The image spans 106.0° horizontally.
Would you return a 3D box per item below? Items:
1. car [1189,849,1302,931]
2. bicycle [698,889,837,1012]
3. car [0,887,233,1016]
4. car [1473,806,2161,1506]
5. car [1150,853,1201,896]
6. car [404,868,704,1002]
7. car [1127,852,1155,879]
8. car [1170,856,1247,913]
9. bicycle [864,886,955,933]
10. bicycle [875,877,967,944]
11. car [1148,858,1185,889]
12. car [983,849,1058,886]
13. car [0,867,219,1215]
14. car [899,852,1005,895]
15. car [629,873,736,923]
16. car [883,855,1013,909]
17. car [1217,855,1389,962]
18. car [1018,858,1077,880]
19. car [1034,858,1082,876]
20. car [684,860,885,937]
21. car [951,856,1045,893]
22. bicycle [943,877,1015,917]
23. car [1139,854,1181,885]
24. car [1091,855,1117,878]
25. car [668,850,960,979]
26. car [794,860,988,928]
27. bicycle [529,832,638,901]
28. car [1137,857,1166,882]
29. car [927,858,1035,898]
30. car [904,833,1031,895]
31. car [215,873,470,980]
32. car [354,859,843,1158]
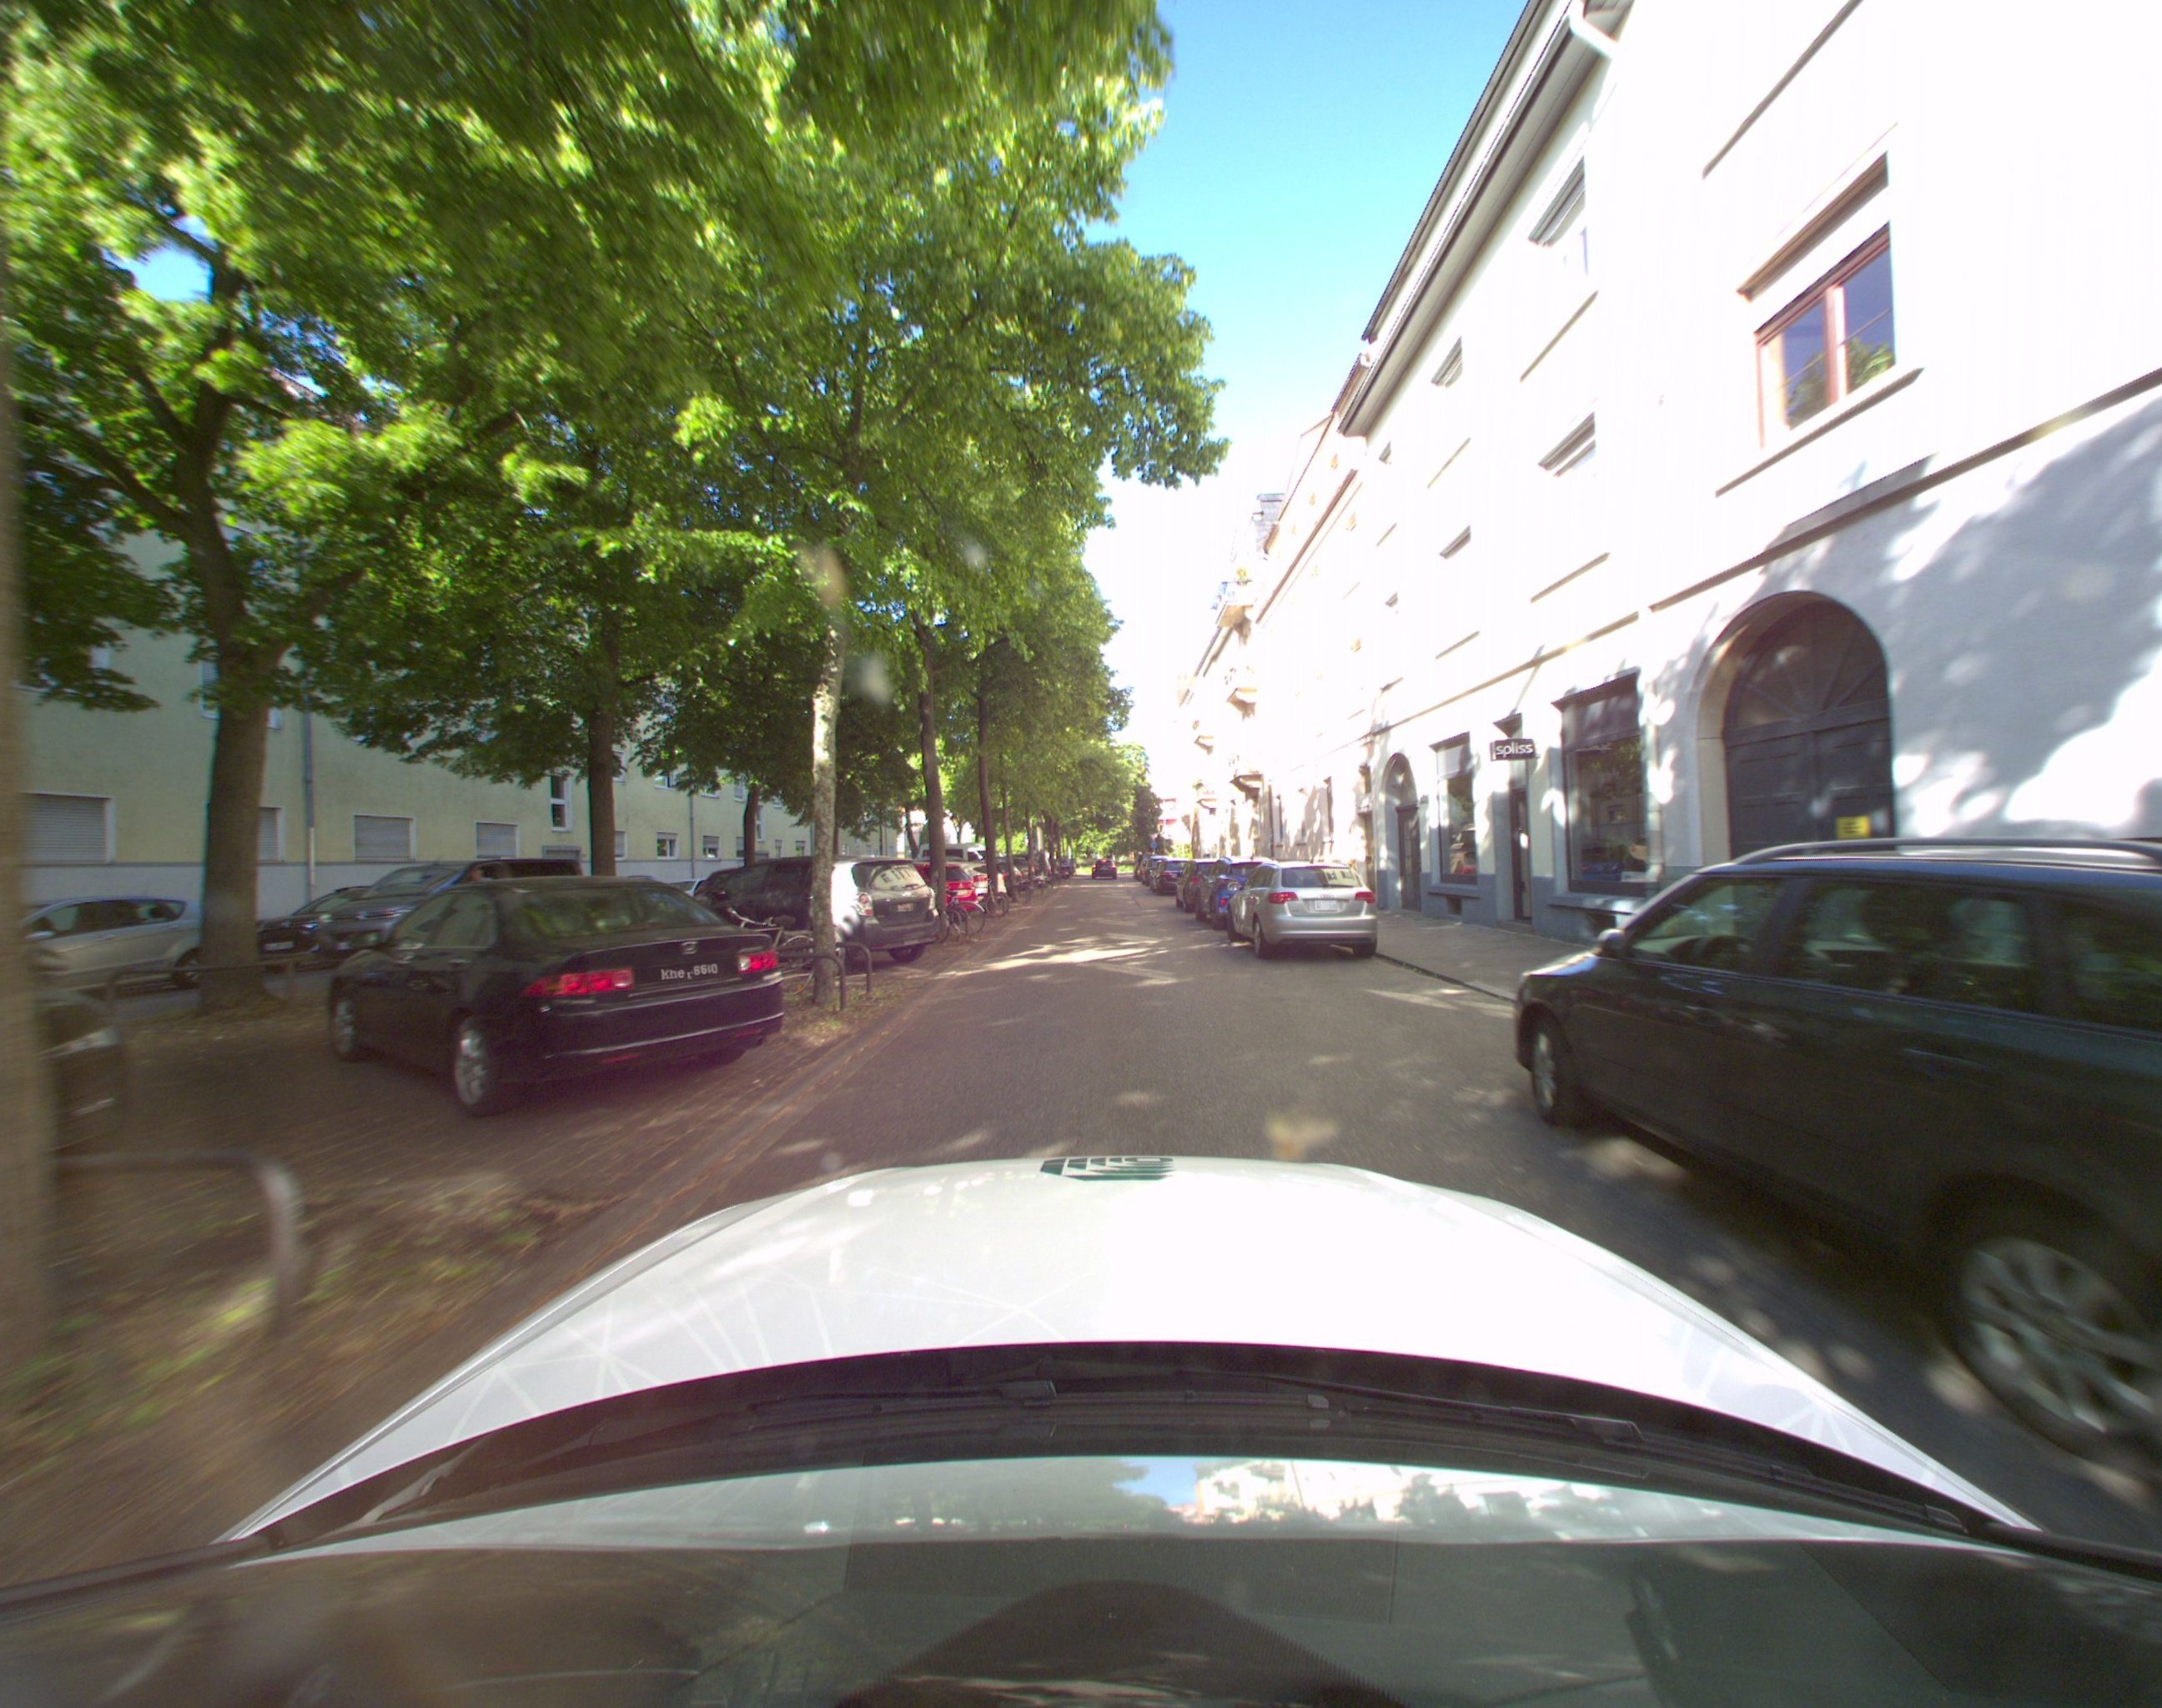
[{"bbox_3d":[3.540,0.727,18.279,1.760,1.551,4.185,-2,0,2],"label":"car"},{"bbox_3d":[-3.334,0.983,8.829,0.424,1.130,1.686,-2,0,18],"label":"bicycle"},{"bbox_3d":[-15.130,1.394,11.916,1.611,1.575,3.578,-3,0,0],"label":"car"},{"bbox_3d":[3.240,0.655,3.218,1.574,1.551,4.044,-1,0,3],"label":"car"},{"bbox_3d":[3.847,0.798,33.762,1.797,1.563,4.324,-3,0,3],"label":"car"},{"bbox_3d":[-6.940,0.921,10.607,4.144,1.391,1.830,-2,-1,35],"label":"car"},{"bbox_3d":[4.365,0.807,59.381,1.795,1.871,4.274,1,0,1],"label":"car"},{"bbox_3d":[3.587,0.812,23.533,1.686,1.468,4.006,-1,0,2],"label":"car"},{"bbox_3d":[-3.501,1.119,16.560,1.882,0.919,0.381,-1,-1,21],"label":"bicycle"},{"bbox_3d":[-2.908,1.010,14.791,1.671,1.158,0.381,-1,-1,21],"label":"bicycle"},{"bbox_3d":[4.104,0.909,39.308,1.583,1.415,3.634,0,0,3],"label":"car"},{"bbox_3d":[-3.410,0.767,45.669,3.801,1.888,1.856,-2,0,35],"label":"car"},{"bbox_3d":[-6.554,0.851,4.112,3.951,1.486,1.840,-1,-1,25],"label":"car"},{"bbox_3d":[-5.791,0.887,36.471,4.338,1.777,1.911,-2,-1,29],"label":"car"},{"bbox_3d":[-14.876,1.583,30.662,1.886,1.565,4.159,-3,0,0],"label":"car"},{"bbox_3d":[-4.189,0.850,25.645,3.648,1.596,1.783,-1,0,26],"label":"car"},{"bbox_3d":[3.430,0.760,13.416,1.763,1.431,4.292,-1,0,2],"label":"car"},{"bbox_3d":[-2.406,1.081,57.943,4.086,1.466,1.861,0,-1,-8],"label":"car"},{"bbox_3d":[-2.073,1.132,71.959,4.089,1.481,1.787,-2,-2,42],"label":"car"},{"bbox_3d":[-6.456,0.931,17.665,4.063,1.473,1.883,-2,0,30],"label":"car"},{"bbox_3d":[-3.929,0.940,38.433,4.221,1.641,1.665,-1,0,29],"label":"car"},{"bbox_3d":[-2.672,1.126,21.274,1.797,0.994,0.427,-2,-1,16],"label":"bicycle"},{"bbox_3d":[4.414,0.859,45.947,1.858,1.643,4.490,0,0,-1],"label":"car"},{"bbox_3d":[1.673,0.867,59.140,1.707,1.483,4.148,-3,0,3],"label":"car"},{"bbox_3d":[-4.030,0.804,12.213,4.037,1.653,1.874,-1,0,28],"label":"car"},{"bbox_3d":[-4.655,0.907,19.752,4.569,1.486,1.772,-1,0,30],"label":"car"},{"bbox_3d":[-9.131,0.217,15.029,0.352,1.200,1.811,-1,0,25],"label":"bicycle"},{"bbox_3d":[4.670,1.003,54.431,1.639,1.537,4.001,1,0,1],"label":"car"},{"bbox_3d":[-4.022,0.968,32.711,4.056,1.481,1.743,-2,-1,30],"label":"car"},{"bbox_3d":[-6.017,0.555,43.280,6.018,2.623,2.466,-6,-3,17],"label":"car"},{"bbox_3d":[-15.001,1.378,16.879,1.695,1.753,3.837,-4,0,0],"label":"car"},{"bbox_3d":[-3.714,0.874,5.996,3.968,1.474,1.637,-3,0,37],"label":"car"}]
